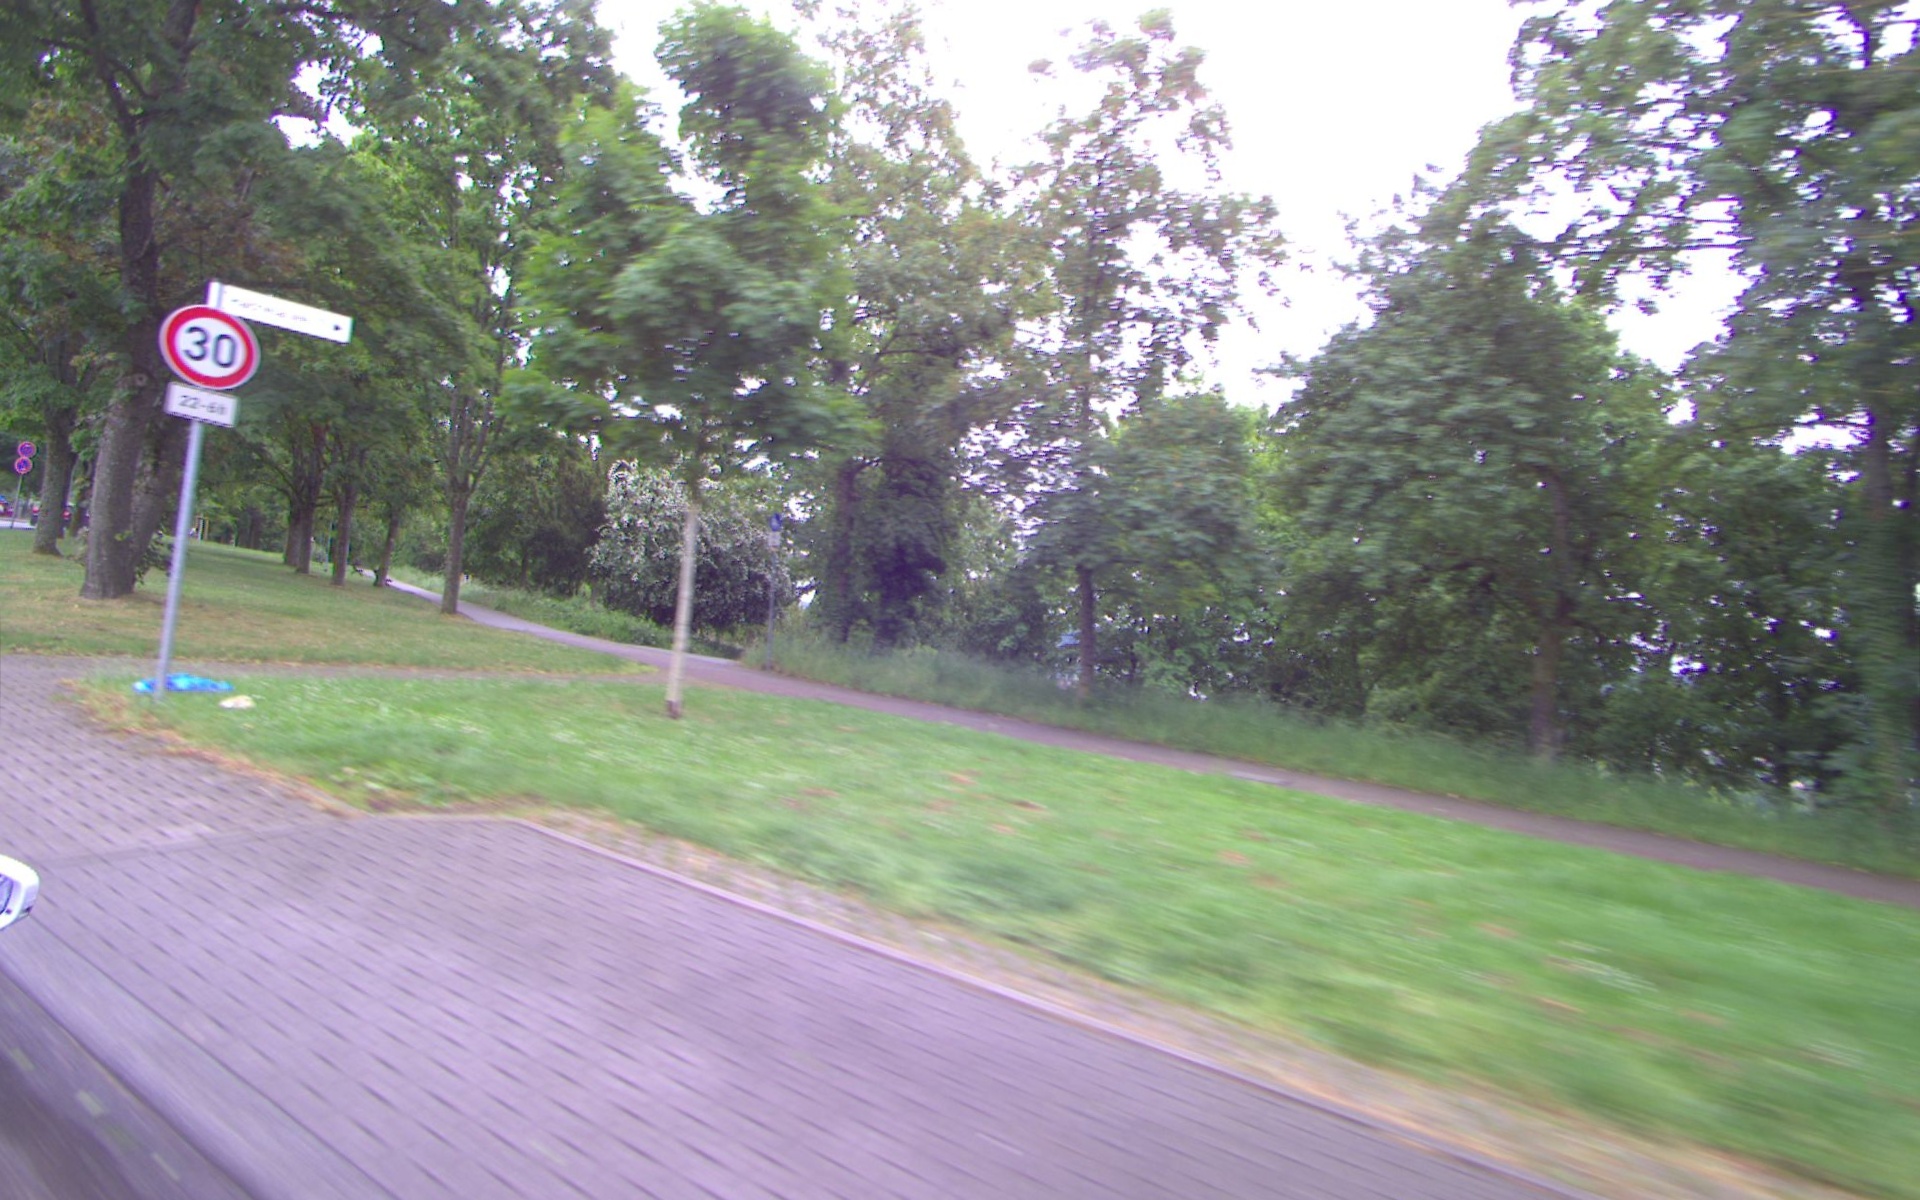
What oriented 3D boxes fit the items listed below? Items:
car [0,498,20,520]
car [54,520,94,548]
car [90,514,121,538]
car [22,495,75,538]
[{"bbox_3d":[-92.626,-8.829,97.301,1.987,1.781,3.958,11,-5,-40],"label":"car"},{"bbox_3d":[-67.963,-5.029,77.224,1.988,1.778,3.957,11,-5,-40],"label":"car"},{"bbox_3d":[-82.279,-7.075,96.880,1.988,1.823,3.957,11,-5,-40],"label":"car"},{"bbox_3d":[-51.780,-4.708,57.147,1.898,2.035,3.897,11,-5,-44],"label":"car"}]
